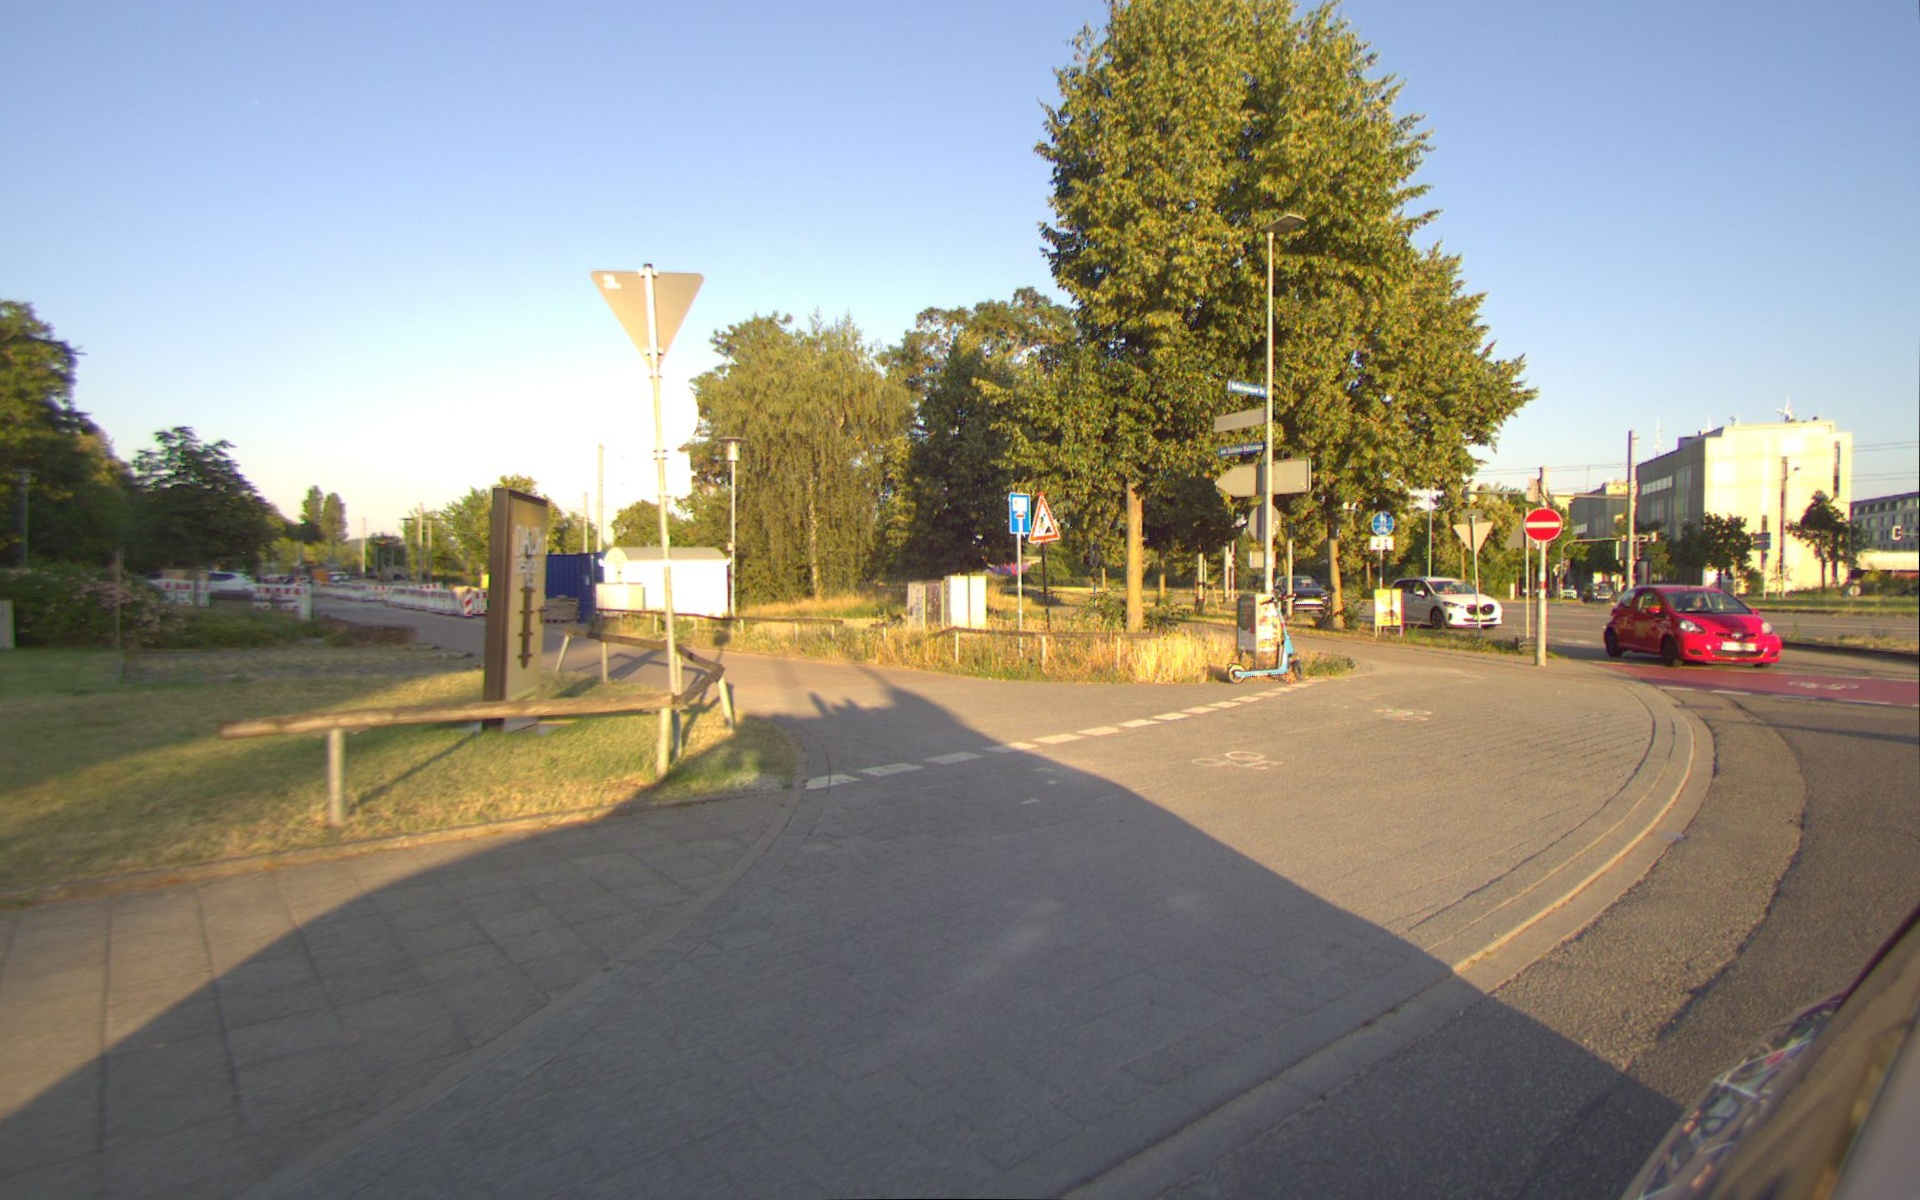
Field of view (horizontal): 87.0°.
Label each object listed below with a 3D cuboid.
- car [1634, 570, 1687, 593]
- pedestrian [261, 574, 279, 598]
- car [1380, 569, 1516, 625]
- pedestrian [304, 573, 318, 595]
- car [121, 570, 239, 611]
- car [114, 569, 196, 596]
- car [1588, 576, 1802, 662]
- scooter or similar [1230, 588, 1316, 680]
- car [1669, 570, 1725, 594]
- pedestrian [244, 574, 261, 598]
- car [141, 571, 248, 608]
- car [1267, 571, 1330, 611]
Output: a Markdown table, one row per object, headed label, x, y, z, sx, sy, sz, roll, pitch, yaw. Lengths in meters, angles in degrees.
| label | x | y | z | sx | sy | sz | roll | pitch | yaw |
| --- | --- | --- | --- | --- | --- | --- | --- | --- | --- |
| car | 39.393 | -1.058 | 56.987 | 1.601 | 1.266 | 3.787 | 0 | 1 | 21 |
| pedestrian | -45.661 | -0.914 | 66.985 | 0.826 | 1.547 | 1.038 | -1 | 1 | -42 |
| car | 14.976 | -0.142 | 31.346 | 1.756 | 1.576 | 4.414 | -1 | 1 | -5 |
| pedestrian | -46.069 | -1.160 | 71.837 | 0.786 | 1.547 | 0.625 | -1 | 1 | -43 |
| car | -35.237 | -0.469 | 45.800 | 4.123 | 1.780 | 1.728 | -1 | 2 | -42 |
| car | -53.275 | -1.173 | 67.023 | 4.123 | 1.780 | 1.728 | -1 | 2 | -42 |
| car | 13.750 | 0.279 | 19.276 | 1.594 | 1.430 | 4.396 | -1 | 1 | 12 |
| scooter or similar | 4.382 | 0.466 | 14.189 | 1.141 | 1.251 | 0.197 | -1 | 1 | -4 |
| car | 41.055 | -1.036 | 56.452 | 1.601 | 1.285 | 3.787 | 0 | 1 | 21 |
| pedestrian | -46.422 | -0.934 | 66.408 | 0.826 | 1.547 | 1.038 | -1 | 1 | -42 |
| car | -38.154 | -0.553 | 50.507 | 4.123 | 1.780 | 1.728 | -1 | 2 | -42 |
| car | 14.435 | -0.420 | 43.333 | 1.761 | 1.576 | 4.400 | -1 | 1 | 8 |
